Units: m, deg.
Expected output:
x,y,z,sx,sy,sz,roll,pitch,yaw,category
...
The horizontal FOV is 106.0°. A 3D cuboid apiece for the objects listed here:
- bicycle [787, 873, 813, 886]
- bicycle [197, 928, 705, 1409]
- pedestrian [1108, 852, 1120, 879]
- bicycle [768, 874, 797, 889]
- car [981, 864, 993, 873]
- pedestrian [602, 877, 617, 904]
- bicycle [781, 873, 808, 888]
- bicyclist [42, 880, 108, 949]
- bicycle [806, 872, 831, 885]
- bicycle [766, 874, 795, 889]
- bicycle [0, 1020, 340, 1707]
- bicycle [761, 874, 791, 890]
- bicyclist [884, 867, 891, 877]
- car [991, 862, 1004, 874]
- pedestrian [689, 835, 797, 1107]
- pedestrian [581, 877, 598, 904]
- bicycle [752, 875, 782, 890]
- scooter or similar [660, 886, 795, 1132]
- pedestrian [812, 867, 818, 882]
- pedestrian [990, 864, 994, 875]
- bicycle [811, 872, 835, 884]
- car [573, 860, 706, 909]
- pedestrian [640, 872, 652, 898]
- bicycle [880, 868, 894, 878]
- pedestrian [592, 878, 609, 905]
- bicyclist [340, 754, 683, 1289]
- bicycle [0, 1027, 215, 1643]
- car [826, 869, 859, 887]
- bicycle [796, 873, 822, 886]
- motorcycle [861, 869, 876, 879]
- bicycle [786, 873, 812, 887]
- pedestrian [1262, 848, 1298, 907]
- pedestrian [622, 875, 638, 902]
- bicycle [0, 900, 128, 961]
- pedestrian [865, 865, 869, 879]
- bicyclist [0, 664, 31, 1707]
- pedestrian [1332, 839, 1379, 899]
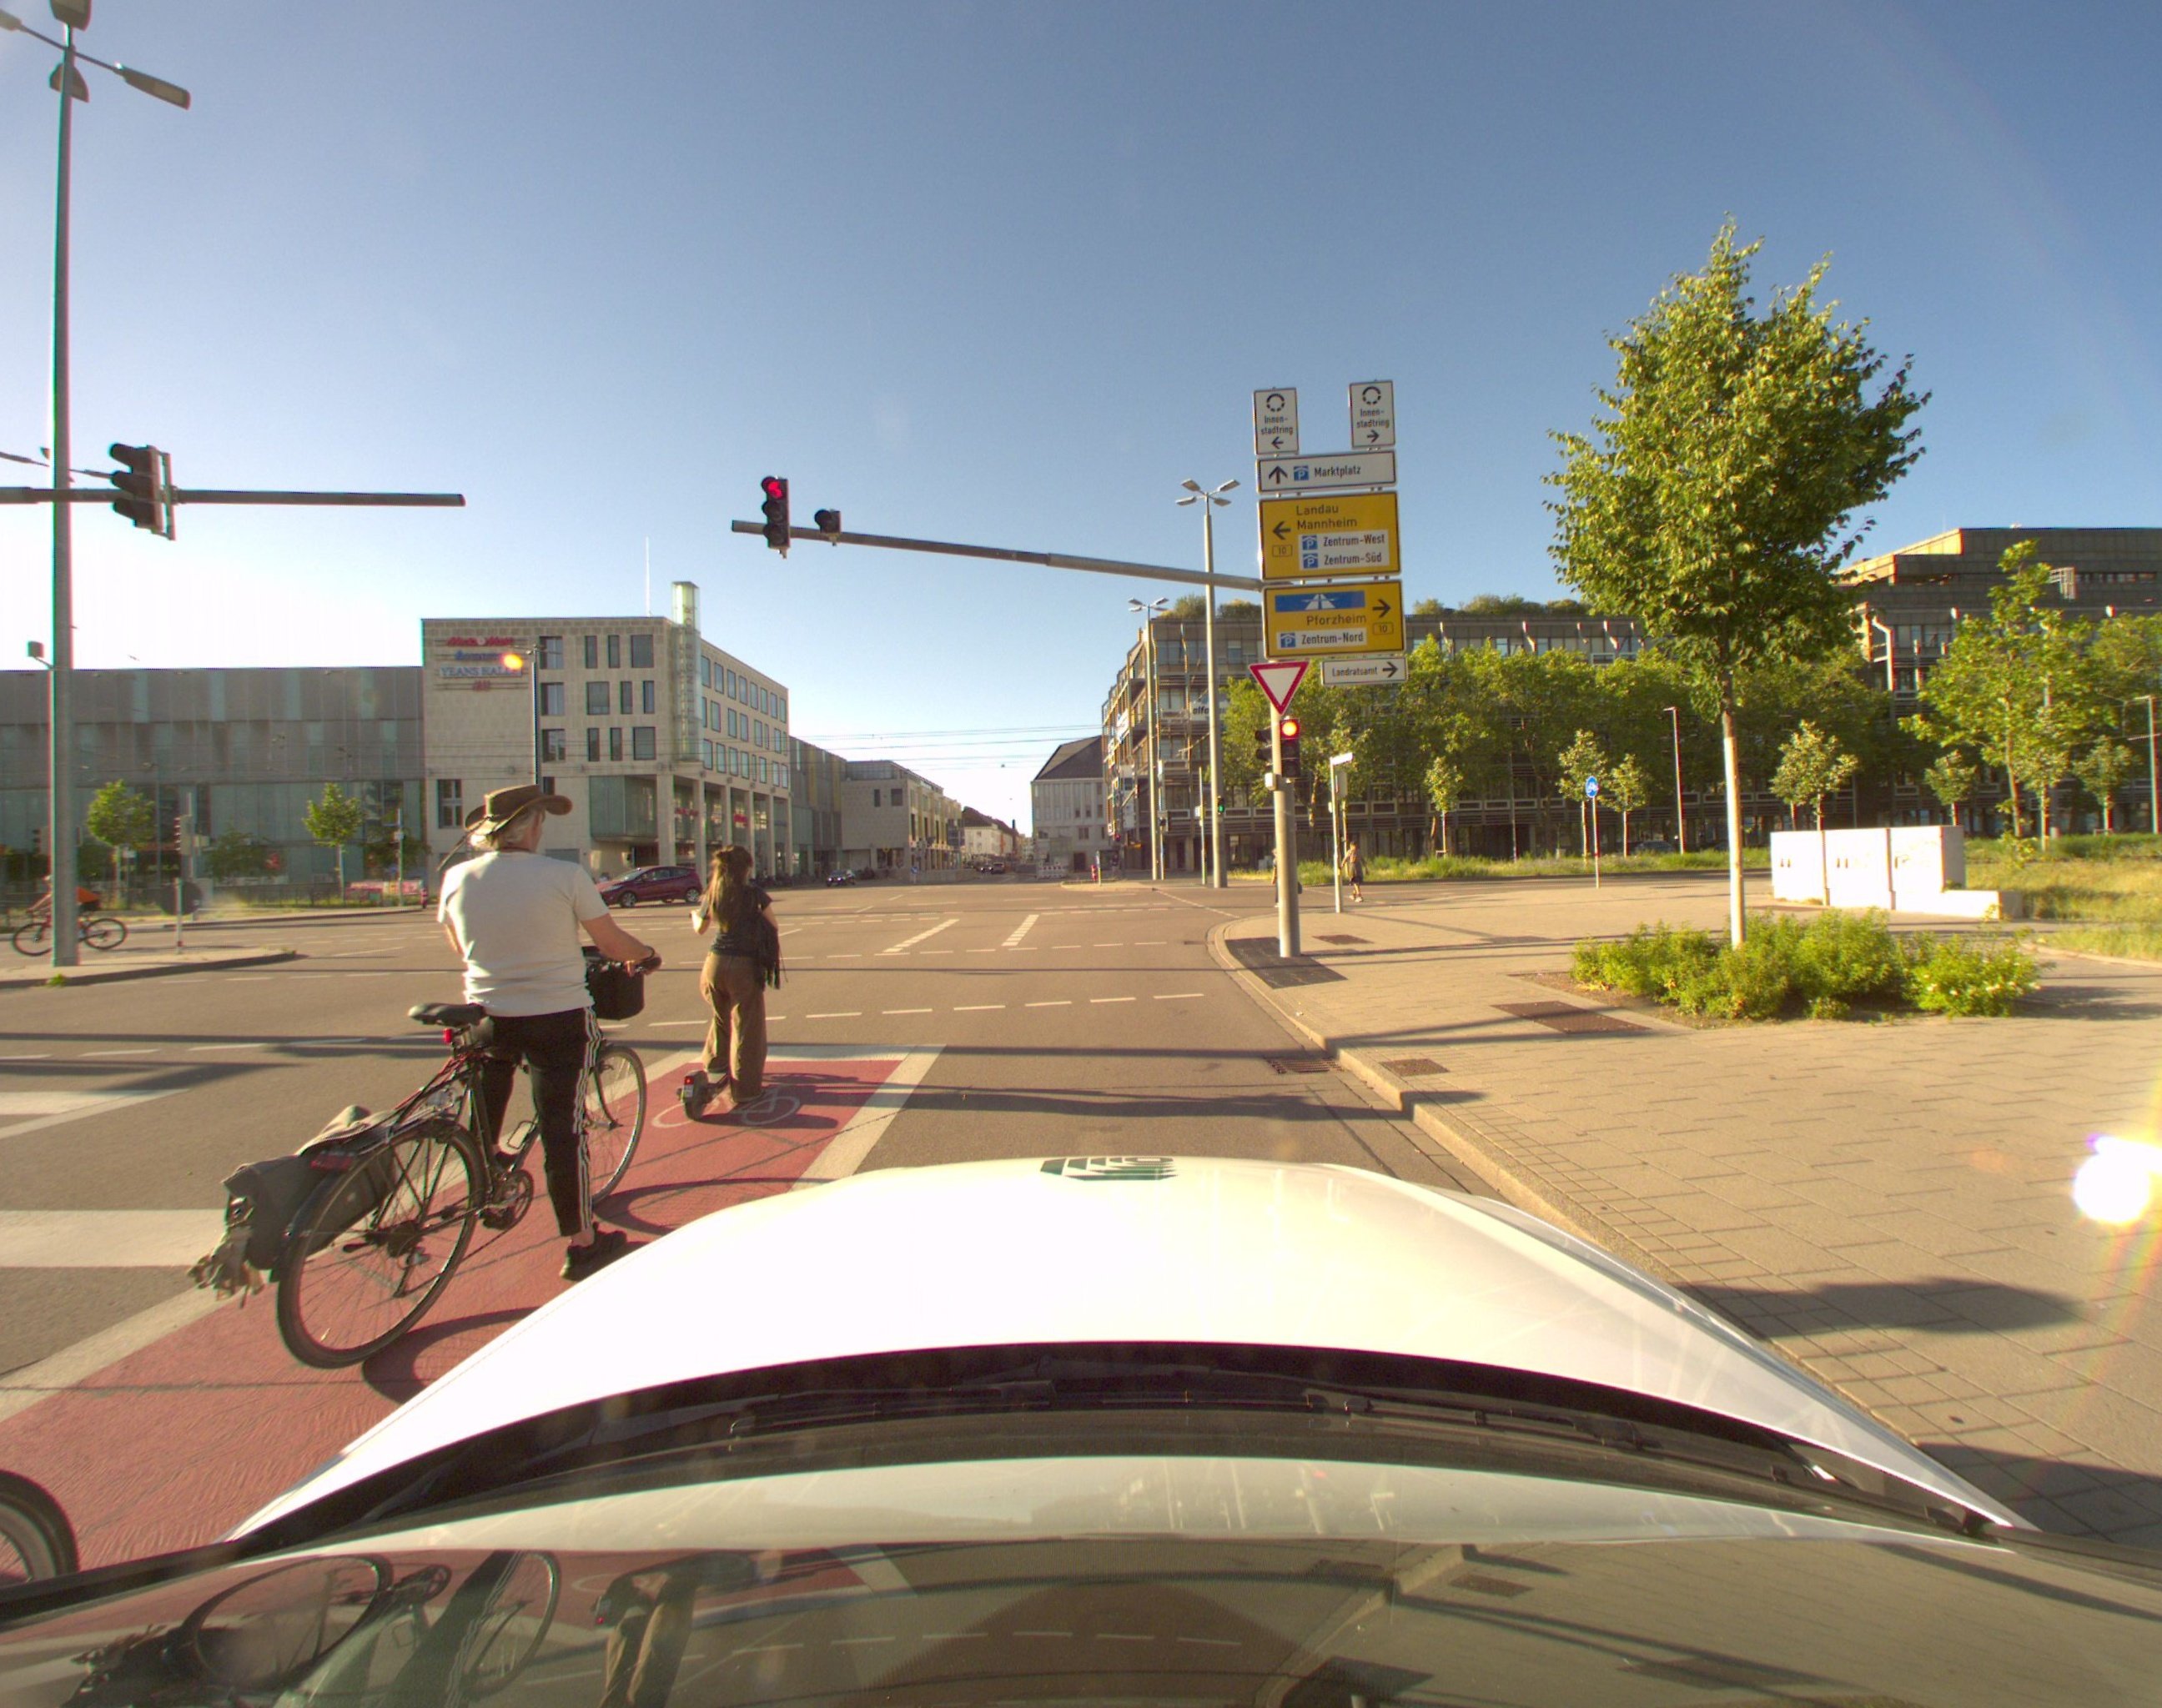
x,y,z,sx,sy,sz,roll,pitch,yaw,category
-27.627,2.508,80.127,2.299,1.222,0.612,-2,-1,-1,bicycle
-2.143,0.941,3.140,0.483,1.156,1.832,0,-1,2,bicycle
2.327,0.815,57.414,0.785,1.890,0.644,0,-1,1,pedestrian
-26.738,2.441,72.896,2.299,1.222,0.612,-2,-1,-1,bicycle
-17.259,2.648,149.859,1.793,1.657,3.997,0,-1,-2,car
-33.988,2.628,58.720,0.714,1.885,0.786,0,-1,-6,pedestrian
-26.694,2.466,75.964,2.299,1.222,0.612,-2,-1,-1,bicycle
-21.537,1.278,17.446,0.492,1.437,0.715,-1,-1,11,bicyclist
-27.586,2.553,85.582,2.299,1.222,0.612,-2,-1,-1,bicycle
-26.562,2.432,72.012,2.299,1.222,0.612,-2,-1,-1,bicycle
-1.625,0.911,0.533,0.614,1.218,1.831,0,0,-1,bicycle
-26.460,2.420,70.652,2.299,1.222,0.612,-2,-1,-1,bicycle
-23.309,2.159,98.098,0.505,1.084,0.629,0,0,31,bicyclist
-11.137,1.865,108.656,1.735,1.531,3.848,0,-1,-5,car
-2.157,0.703,5.245,0.549,1.633,0.569,0,-1,-13,pedestrian
-35.206,2.601,58.386,0.783,1.885,0.716,0,-1,-4,pedestrian
-26.731,2.411,69.375,2.299,1.222,0.612,-2,-1,-1,bicycle
-2.151,0.868,5.076,0.547,1.294,1.188,0,-1,-13,scooter or similar
-30.063,2.315,92.168,0.553,1.679,0.606,0,0,-8,pedestrian
-12.820,2.248,117.501,0.520,1.679,0.582,0,0,-5,pedestrian
-27.422,2.561,86.647,2.299,1.222,0.612,-2,-1,-1,bicycle
-15.960,1.074,29.632,1.638,1.585,3.922,-2,-1,30,car
-31.123,2.218,58.319,0.718,1.885,0.781,0,-1,-25,pedestrian
-23.364,2.265,97.987,0.505,1.206,1.822,0,0,31,bicycle
-33.865,2.616,57.373,0.783,1.885,0.716,0,-1,-4,pedestrian
-2.050,0.541,3.063,0.658,1.720,0.866,0,-1,1,bicyclist
-2.416,0.979,0.982,0.645,1.109,1.970,0,0,-1,bicycle
-20.622,2.054,70.508,1.625,1.342,3.999,-4,-1,0,car
-27.183,2.515,81.343,2.299,1.222,0.612,-2,-1,-1,bicycle
-25.780,2.437,98.739,1.807,1.206,0.509,0,0,-14,motorcycle
-27.061,2.487,78.132,2.299,1.222,0.612,-2,-1,-1,bicycle
5.154,0.600,21.144,0.785,1.492,0.644,0,-1,1,pedestrian
-31.943,2.454,57.692,0.783,1.885,0.716,0,-1,-4,pedestrian
-21.578,1.604,17.329,0.492,1.154,1.655,-1,-1,11,bicycle
-26.100,2.198,99.356,0.521,1.679,0.580,0,0,-12,pedestrian
-1.629,0.561,0.572,0.639,1.579,0.875,0,0,-1,bicyclist
7.798,0.431,23.170,0.880,1.665,0.960,0,-1,-14,pedestrian
